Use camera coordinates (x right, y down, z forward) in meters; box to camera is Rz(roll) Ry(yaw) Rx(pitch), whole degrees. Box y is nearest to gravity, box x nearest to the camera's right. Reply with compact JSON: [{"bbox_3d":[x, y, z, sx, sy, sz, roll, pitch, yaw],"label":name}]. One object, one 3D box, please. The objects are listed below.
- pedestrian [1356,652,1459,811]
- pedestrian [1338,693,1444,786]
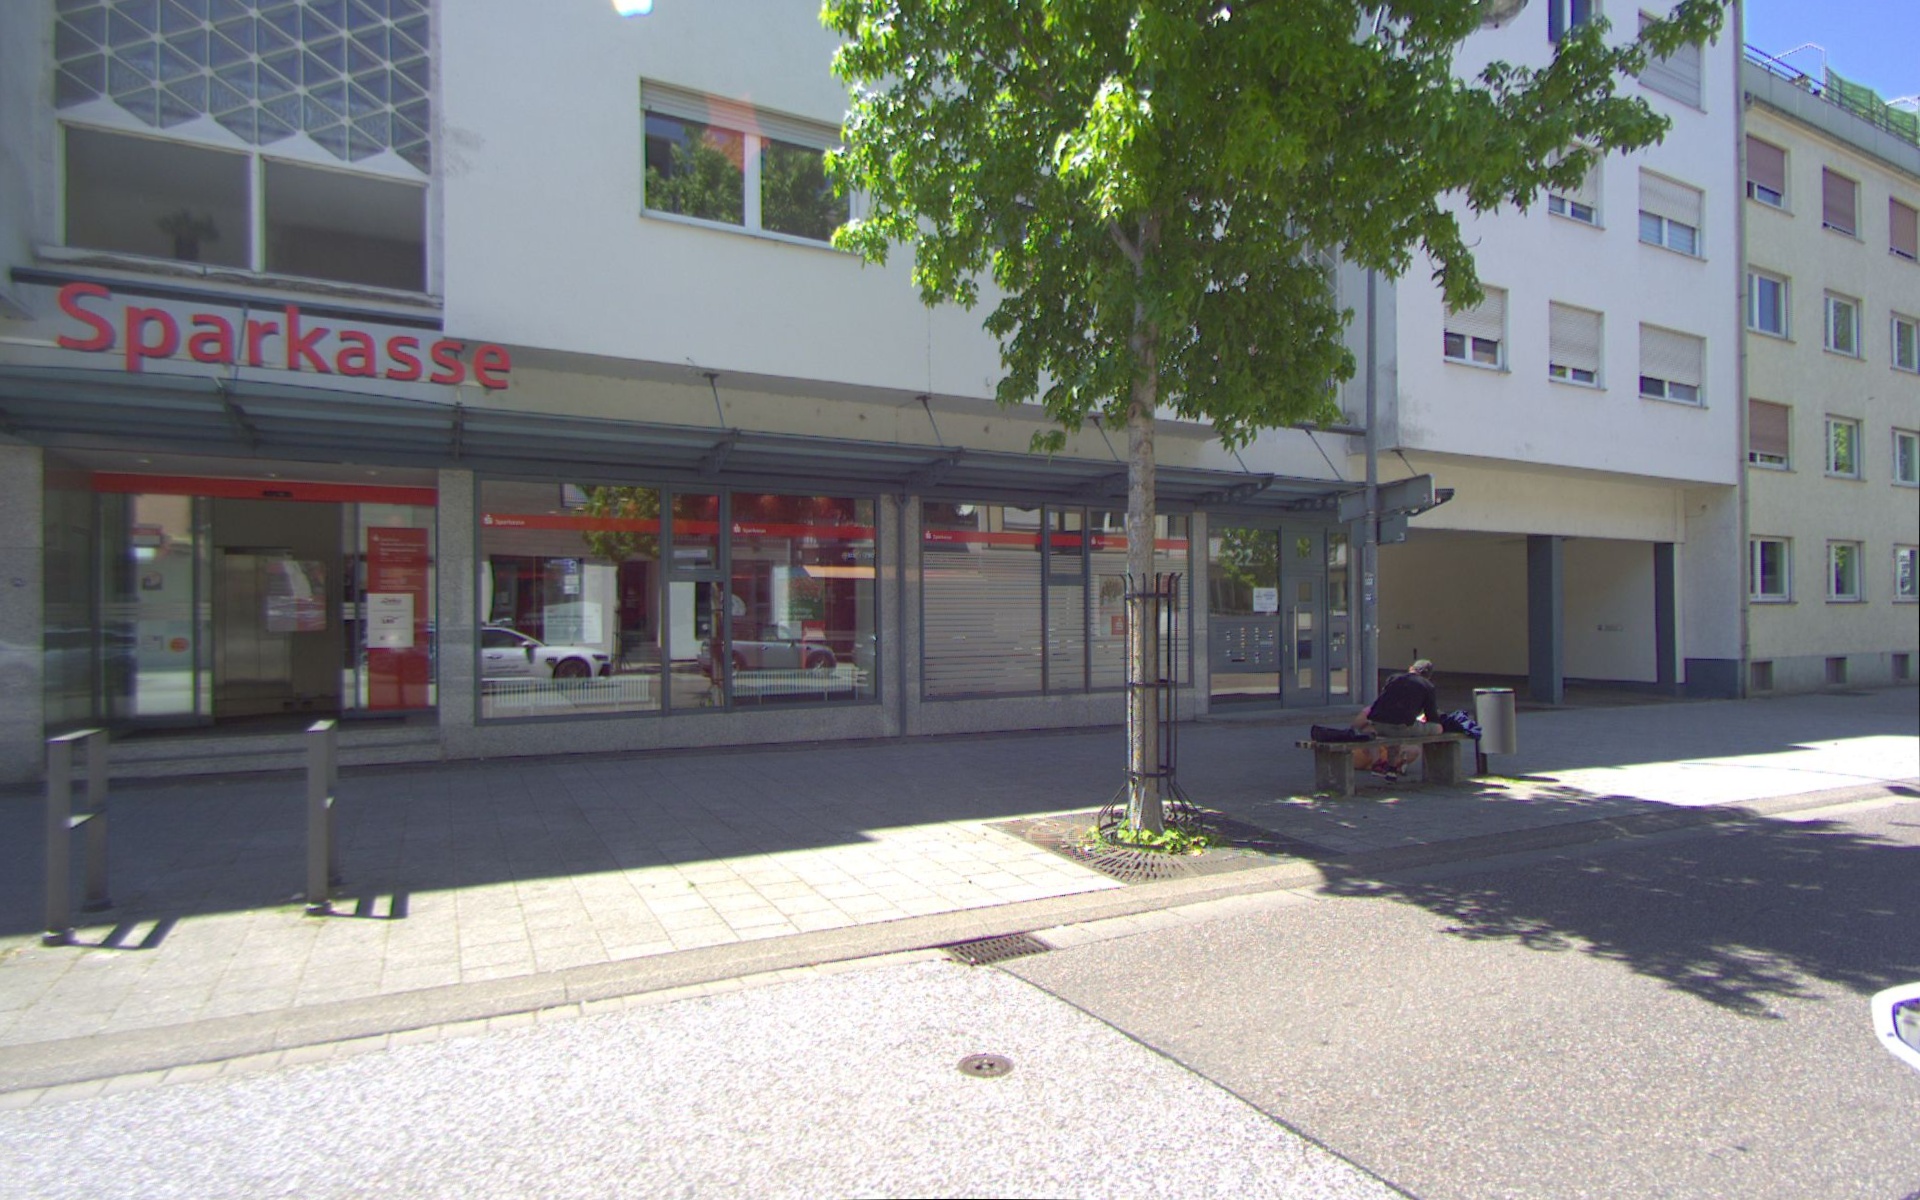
[{"bbox_3d":[4.126,1.185,9.284,0.656,1.390,0.567,1,-2,-19],"label":"pedestrian"},{"bbox_3d":[4.432,1.425,10.345,0.721,0.869,0.664,4,-3,-19],"label":"pedestrian"}]
